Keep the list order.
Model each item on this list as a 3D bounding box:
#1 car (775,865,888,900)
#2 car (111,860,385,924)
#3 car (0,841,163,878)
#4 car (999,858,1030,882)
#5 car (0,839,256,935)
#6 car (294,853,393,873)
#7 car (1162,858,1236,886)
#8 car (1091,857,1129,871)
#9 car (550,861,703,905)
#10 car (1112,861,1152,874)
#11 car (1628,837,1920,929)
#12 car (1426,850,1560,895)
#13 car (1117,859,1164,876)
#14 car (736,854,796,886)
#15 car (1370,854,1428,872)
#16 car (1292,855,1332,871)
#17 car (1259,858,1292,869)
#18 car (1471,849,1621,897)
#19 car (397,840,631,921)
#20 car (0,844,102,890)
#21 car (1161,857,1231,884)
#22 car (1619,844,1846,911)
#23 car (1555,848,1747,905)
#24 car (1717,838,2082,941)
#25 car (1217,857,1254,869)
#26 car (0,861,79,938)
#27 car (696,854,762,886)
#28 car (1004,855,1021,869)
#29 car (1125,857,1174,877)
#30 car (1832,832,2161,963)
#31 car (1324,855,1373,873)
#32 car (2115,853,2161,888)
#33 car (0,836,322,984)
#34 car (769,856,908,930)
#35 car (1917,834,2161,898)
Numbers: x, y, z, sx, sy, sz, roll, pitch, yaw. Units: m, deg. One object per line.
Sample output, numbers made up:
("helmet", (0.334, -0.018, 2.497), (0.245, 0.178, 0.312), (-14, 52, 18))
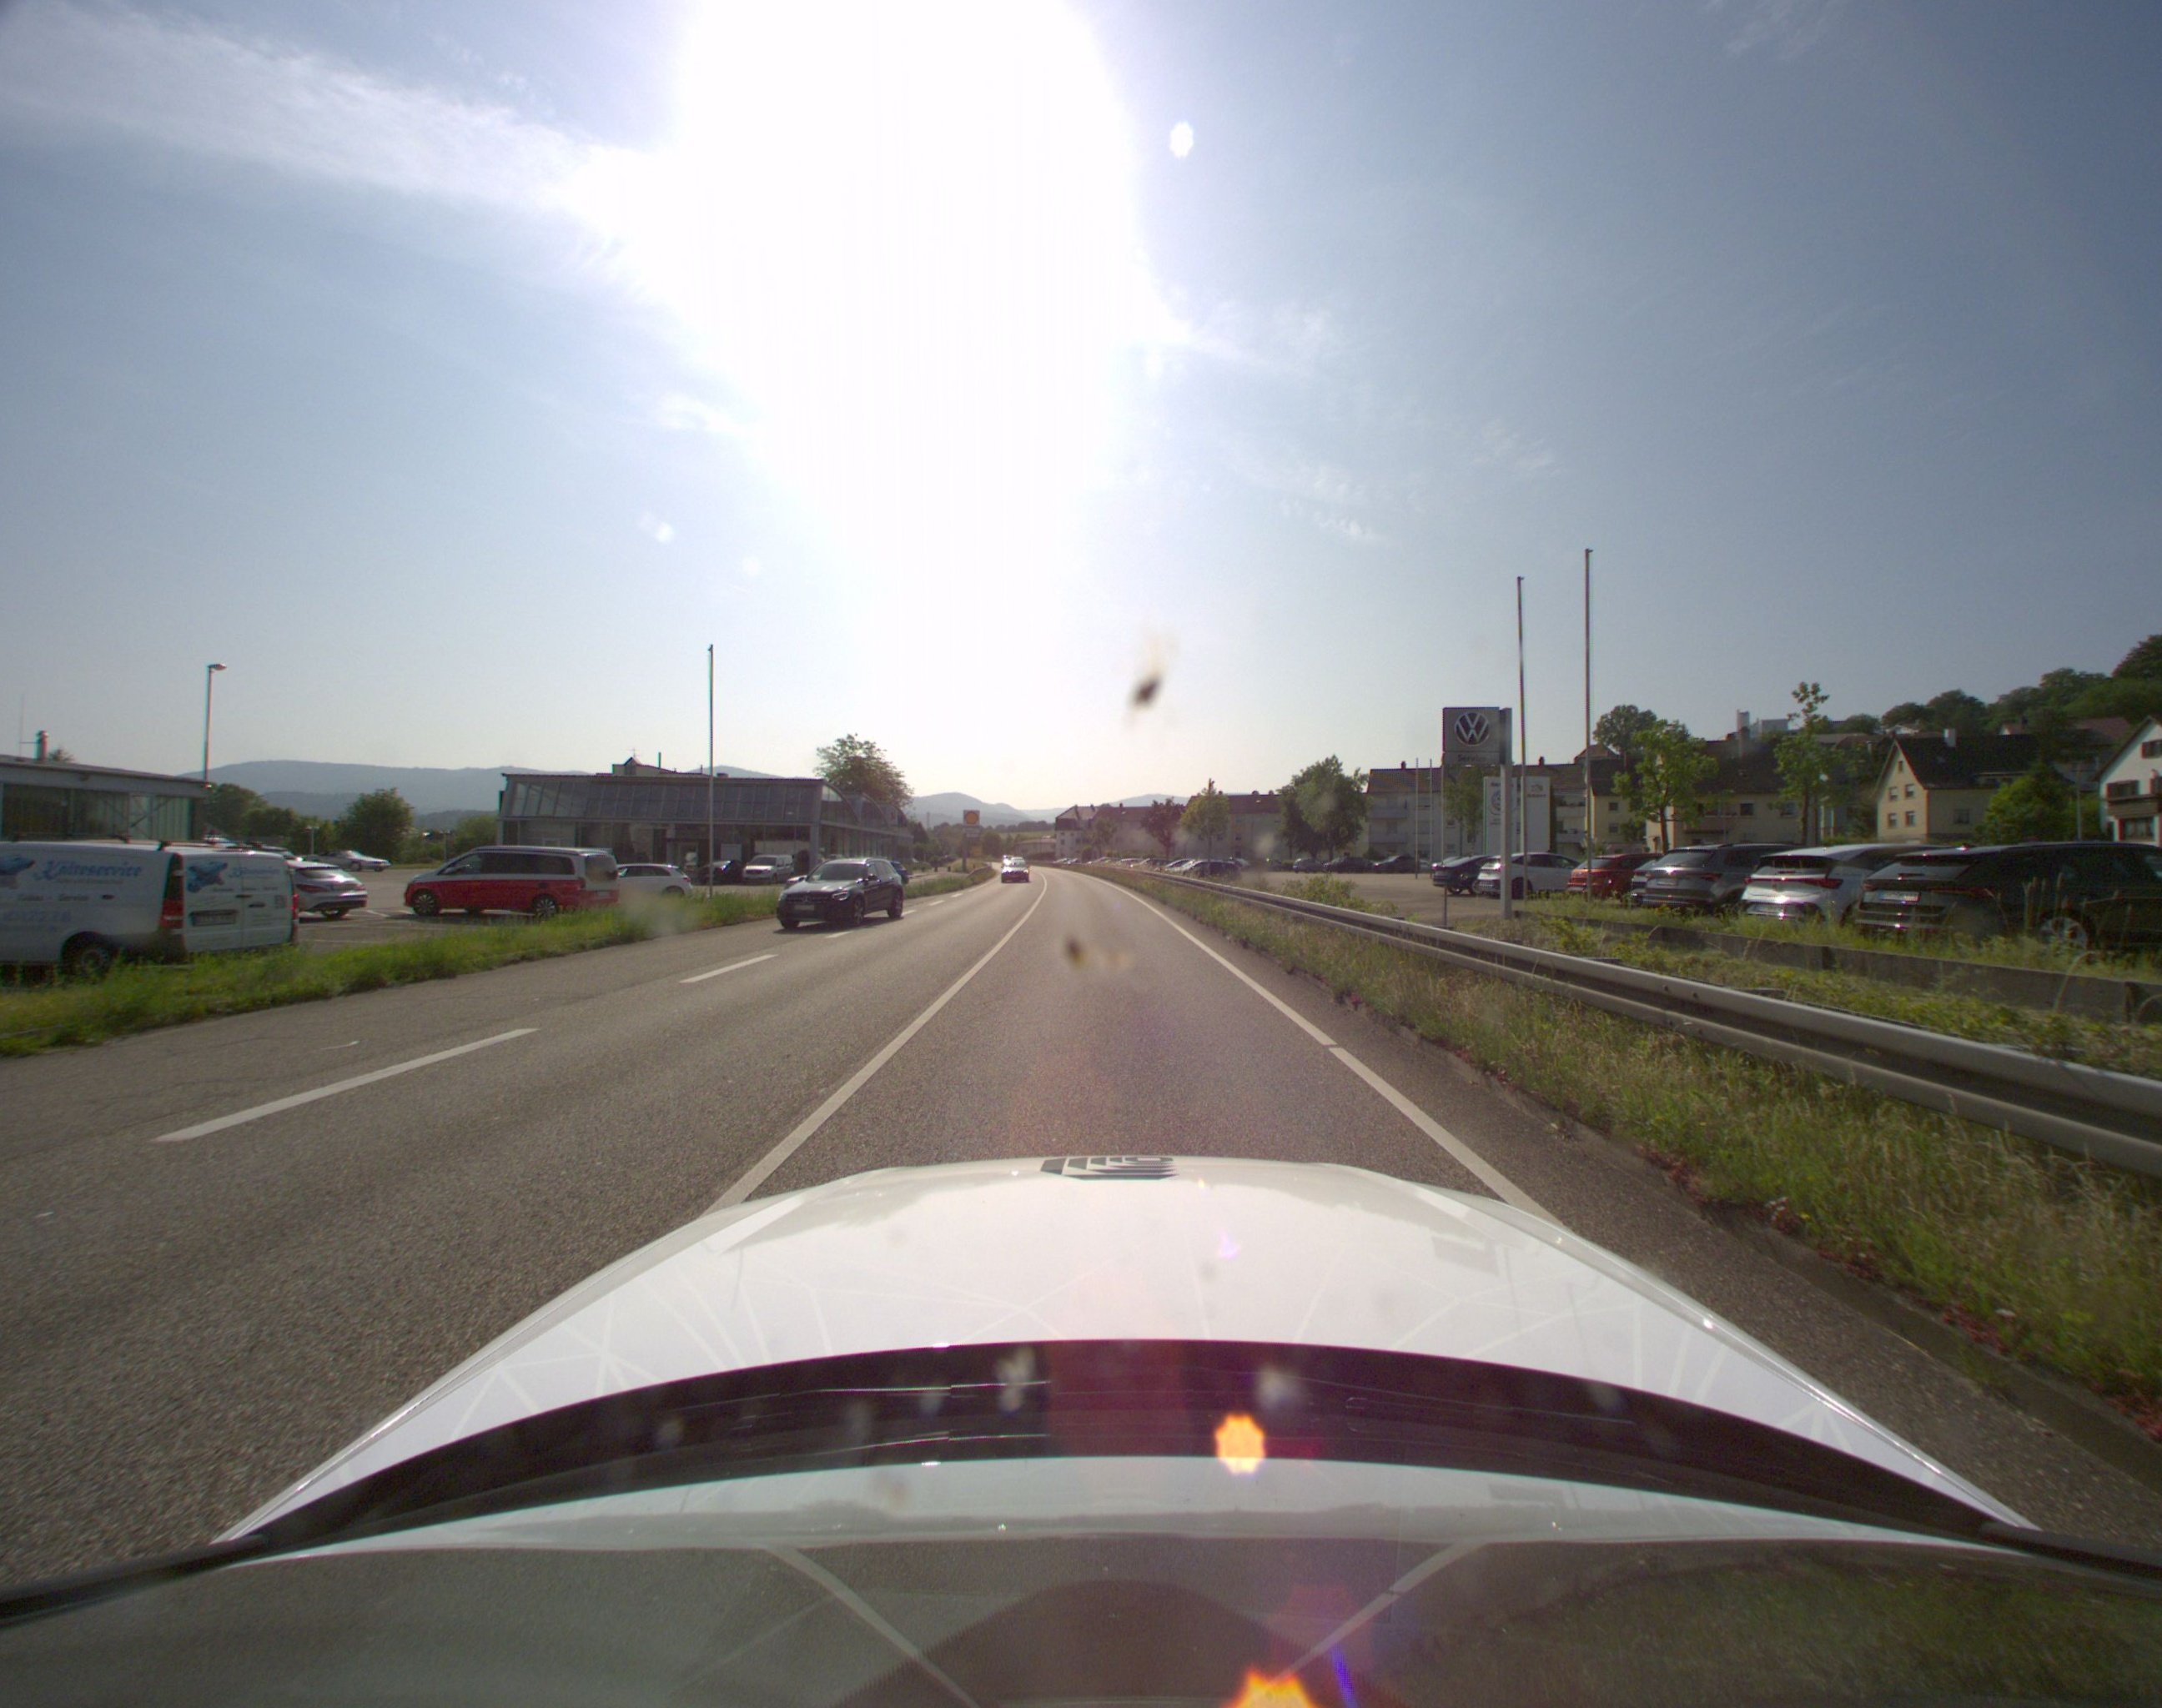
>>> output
("car", (-10.938, 1.217, 35.845), (4.418, 1.367, 1.831), (0, 0, -41))
("car", (-20.031, 0.878, 19.754), (4.453, 1.398, 1.965), (1, -1, -2))
("car", (-43.858, 0.220, 35.736), (4.795, 1.566, 2.213), (0, 1, 3))
("car", (-4.474, 1.067, 54.192), (1.751, 1.474, 4.275), (-2, 0, -8))
("car", (-20.760, 0.651, 17.246), (4.368, 1.808, 2.000), (2, 0, -2))
("car", (-47.847, 0.597, 52.911), (4.795, 1.290, 1.910), (0, 0, 3))
("car", (7.082, 1.077, 49.135), (4.150, 1.491, 1.730), (-2, -1, -3))
("car", (3.482, 1.185, 98.598), (4.311, 1.640, 2.137), (-1, -1, -4))
("car", (-15.500, 0.973, 27.892), (4.253, 1.403, 1.875), (2, -1, -41))
("car", (5.825, 1.531, 93.283), (4.315, 1.444, 1.624), (0, -1, -7))
("car", (12.959, 0.523, 15.408), (4.066, 1.610, 1.791), (-1, -1, -2))
("car", (15.357, 0.675, 30.474), (4.148, 1.516, 1.822), (-1, -1, -4))
("car", (5.484, 1.248, 75.204), (3.985, 1.580, 1.773), (0, -1, -9))
("car", (-18.375, 0.901, 47.766), (1.799, 1.713, 4.407), (0, 1, 0))
("car", (28.016, 0.760, 71.747), (4.636, 1.521, 1.851), (0, -1, -20))
("car", (22.686, 0.901, 79.923), (3.777, 1.521, 1.641), (0, -1, -30))
("car", (21.641, 1.060, 90.772), (1.598, 1.186, 3.629), (0, -1, -28))
("car", (15.762, 0.640, 27.743), (4.080, 1.516, 1.824), (-1, -1, -1))
("car", (-15.550, 0.710, 22.579), (4.779, 1.981, 2.227), (2, 0, -2))
("car", (-35.651, 0.429, 26.613), (1.800, 1.492, 4.565), (0, -1, -1))
("car", (7.282, 1.059, 52.005), (4.150, 1.556, 1.769), (-2, -1, -3))
("car", (15.442, 0.552, 19.462), (3.975, 1.486, 1.841), (-1, -1, -1))
("car", (15.491, 0.608, 22.282), (3.975, 1.446, 1.824), (-1, -1, -1))
("car", (12.825, 0.539, 12.967), (3.973, 1.494, 1.791), (-1, -1, 1))
("car", (18.276, 1.081, 96.466), (1.919, 1.405, 4.483), (0, -1, -28))
("car", (-21.138, 0.772, 14.423), (4.368, 1.319, 1.798), (1, 0, -2))
("car", (-20.668, 0.905, 48.015), (1.800, 1.713, 4.937), (0, 1, -1))
("car", (-10.148, 1.172, 120.317), (1.916, 1.885, 4.888), (-1, 0, -13))
("car", (5.788, 1.107, 69.112), (3.979, 1.640, 1.885), (-1, -1, -4))
("car", (12.264, 0.510, 10.229), (3.970, 1.494, 1.731), (-1, -1, 3))
("car", (25.190, 0.924, 76.678), (4.508, 1.600, 1.825), (0, -1, -28))
("car", (52.268, 0.772, 39.388), (4.760, 1.546, 1.762), (-1, -1, -25))
("car", (-14.297, 0.715, 11.679), (4.658, 1.857, 2.142), (1, 0, -2))
("car", (-5.991, 0.900, 20.755), (1.803, 1.630, 4.547), (-2, 0, 5))
("car", (25.907, 0.321, 21.935), (4.718, 1.565, 1.932), (-1, -1, 1))
